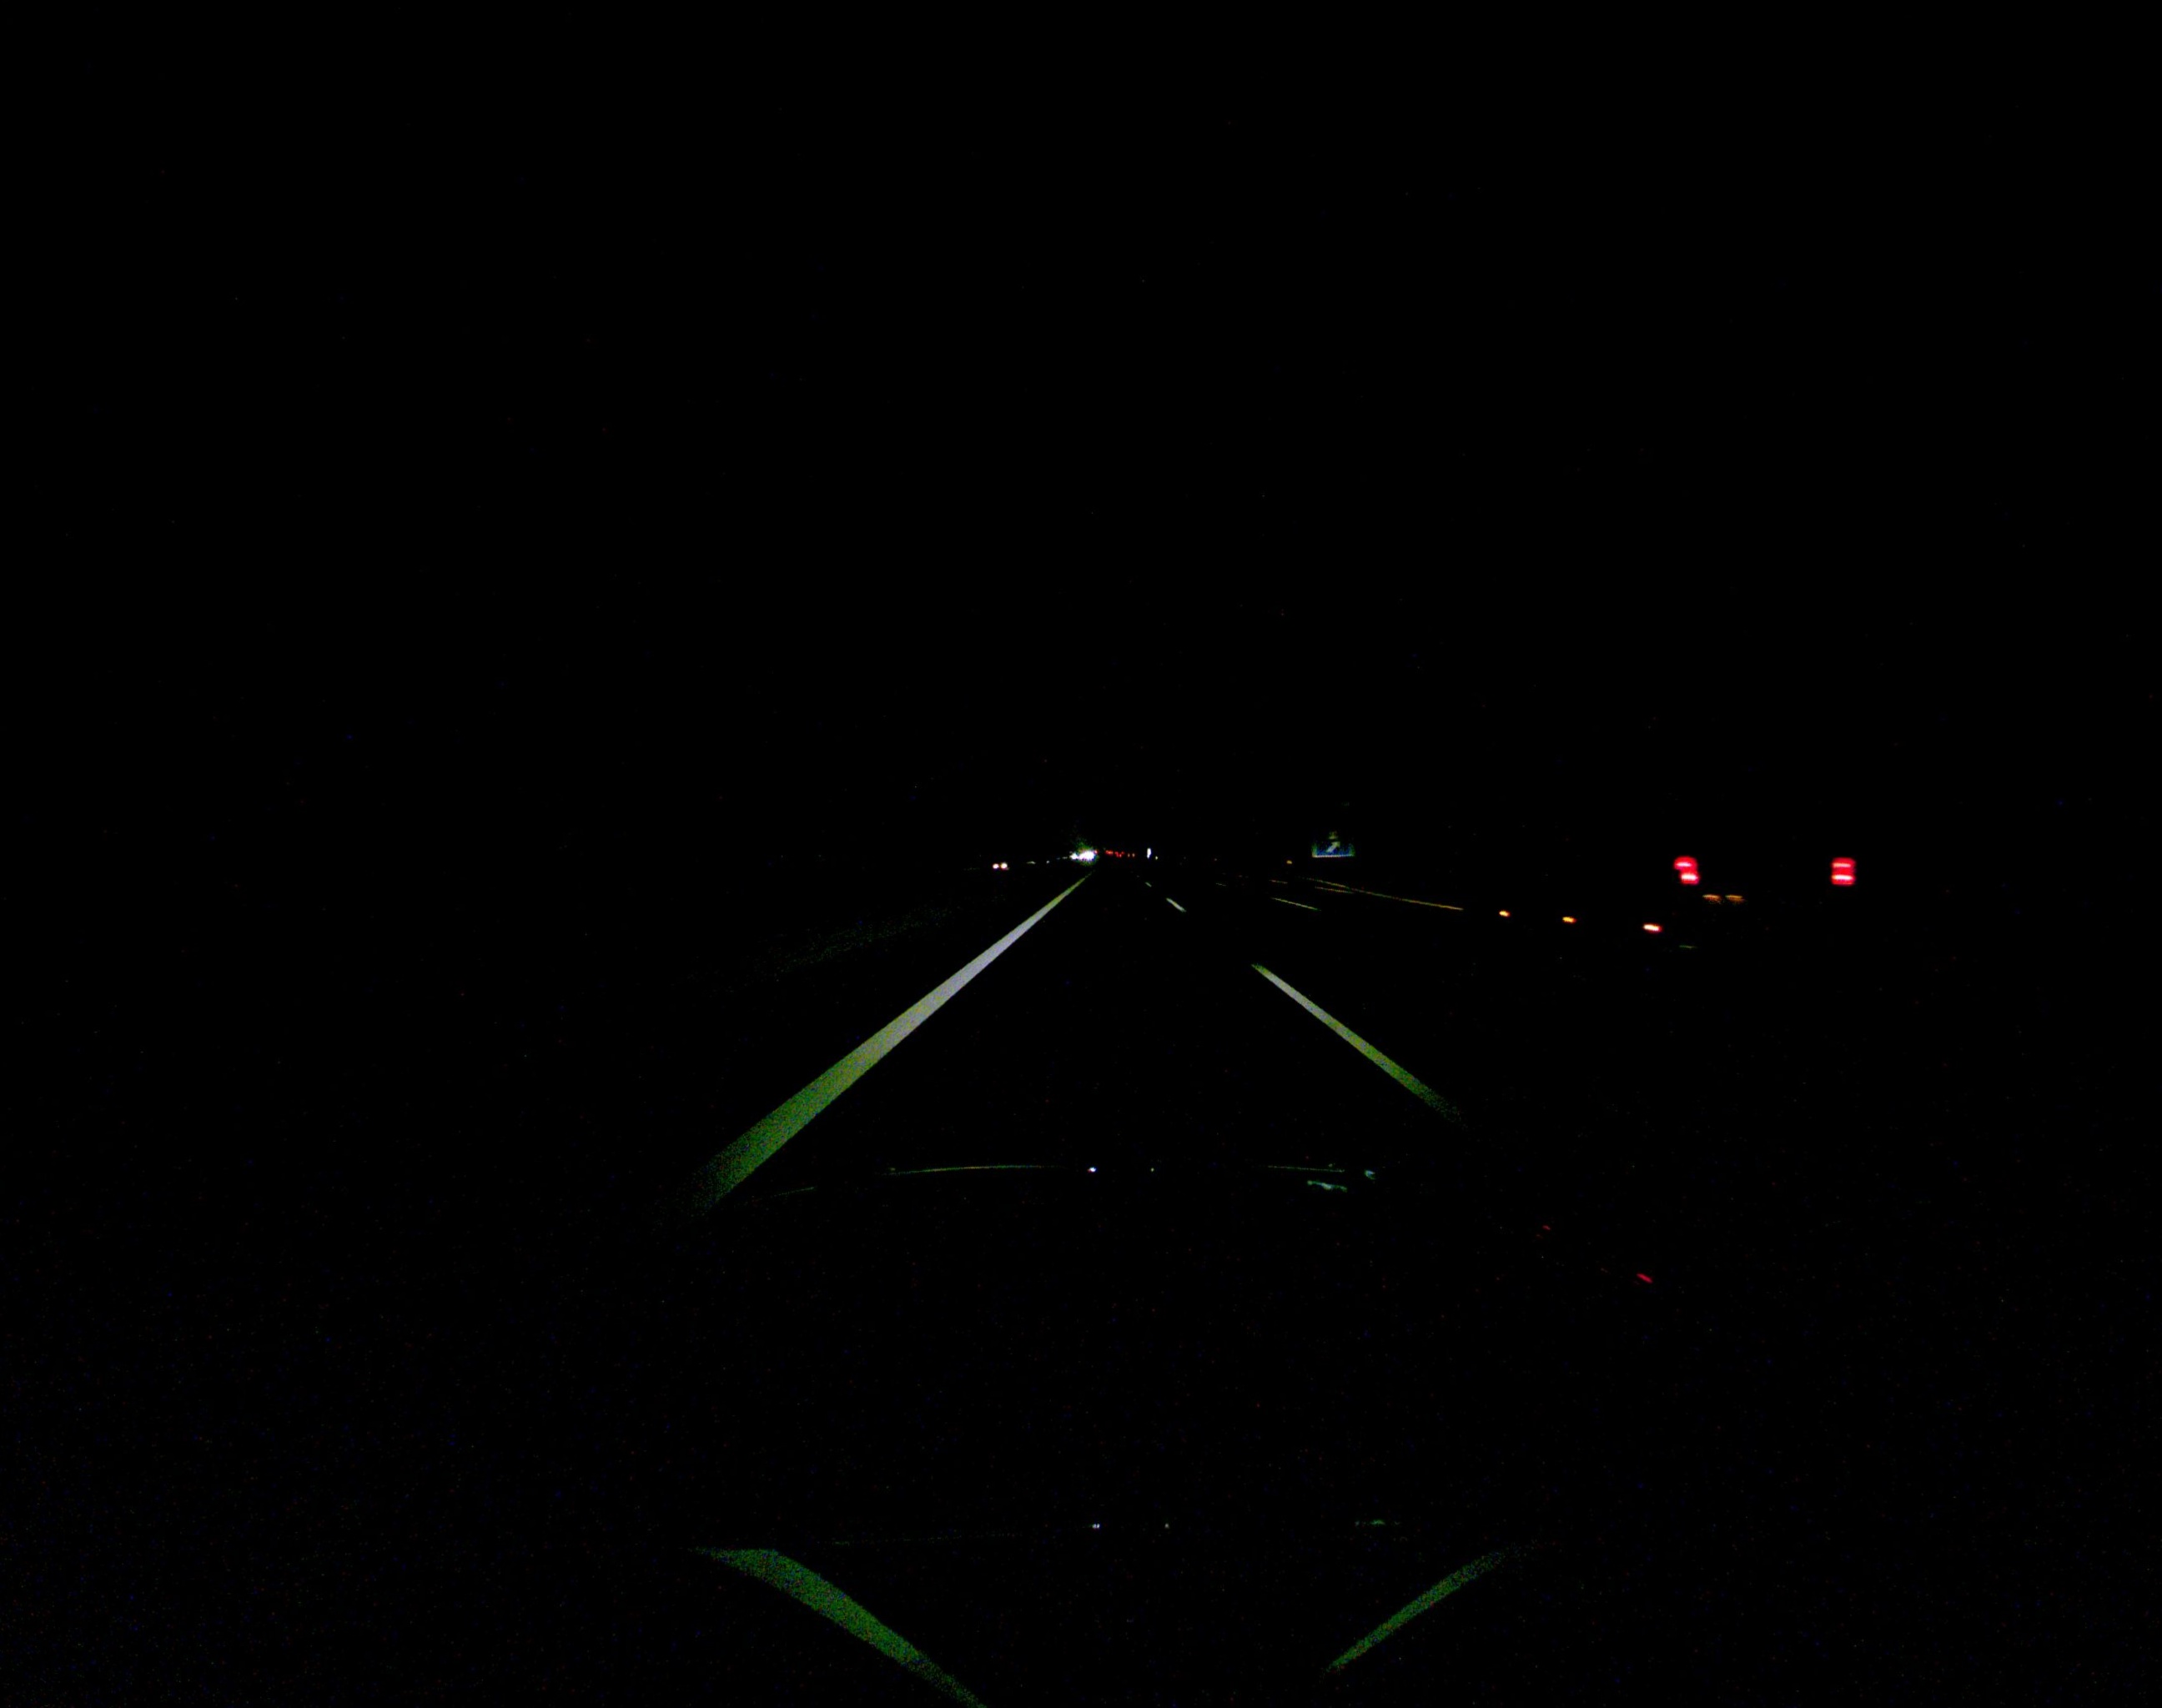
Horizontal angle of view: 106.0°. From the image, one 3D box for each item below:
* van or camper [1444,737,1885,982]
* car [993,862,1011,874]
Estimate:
[{"bbox_3d":[8.121,0.060,12.640,2.198,2.771,6.808,0,0,2],"label":"van or camper"},{"bbox_3d":[-11.957,2.158,123.978,1.986,1.551,5.006,-5,0,2],"label":"car"}]
